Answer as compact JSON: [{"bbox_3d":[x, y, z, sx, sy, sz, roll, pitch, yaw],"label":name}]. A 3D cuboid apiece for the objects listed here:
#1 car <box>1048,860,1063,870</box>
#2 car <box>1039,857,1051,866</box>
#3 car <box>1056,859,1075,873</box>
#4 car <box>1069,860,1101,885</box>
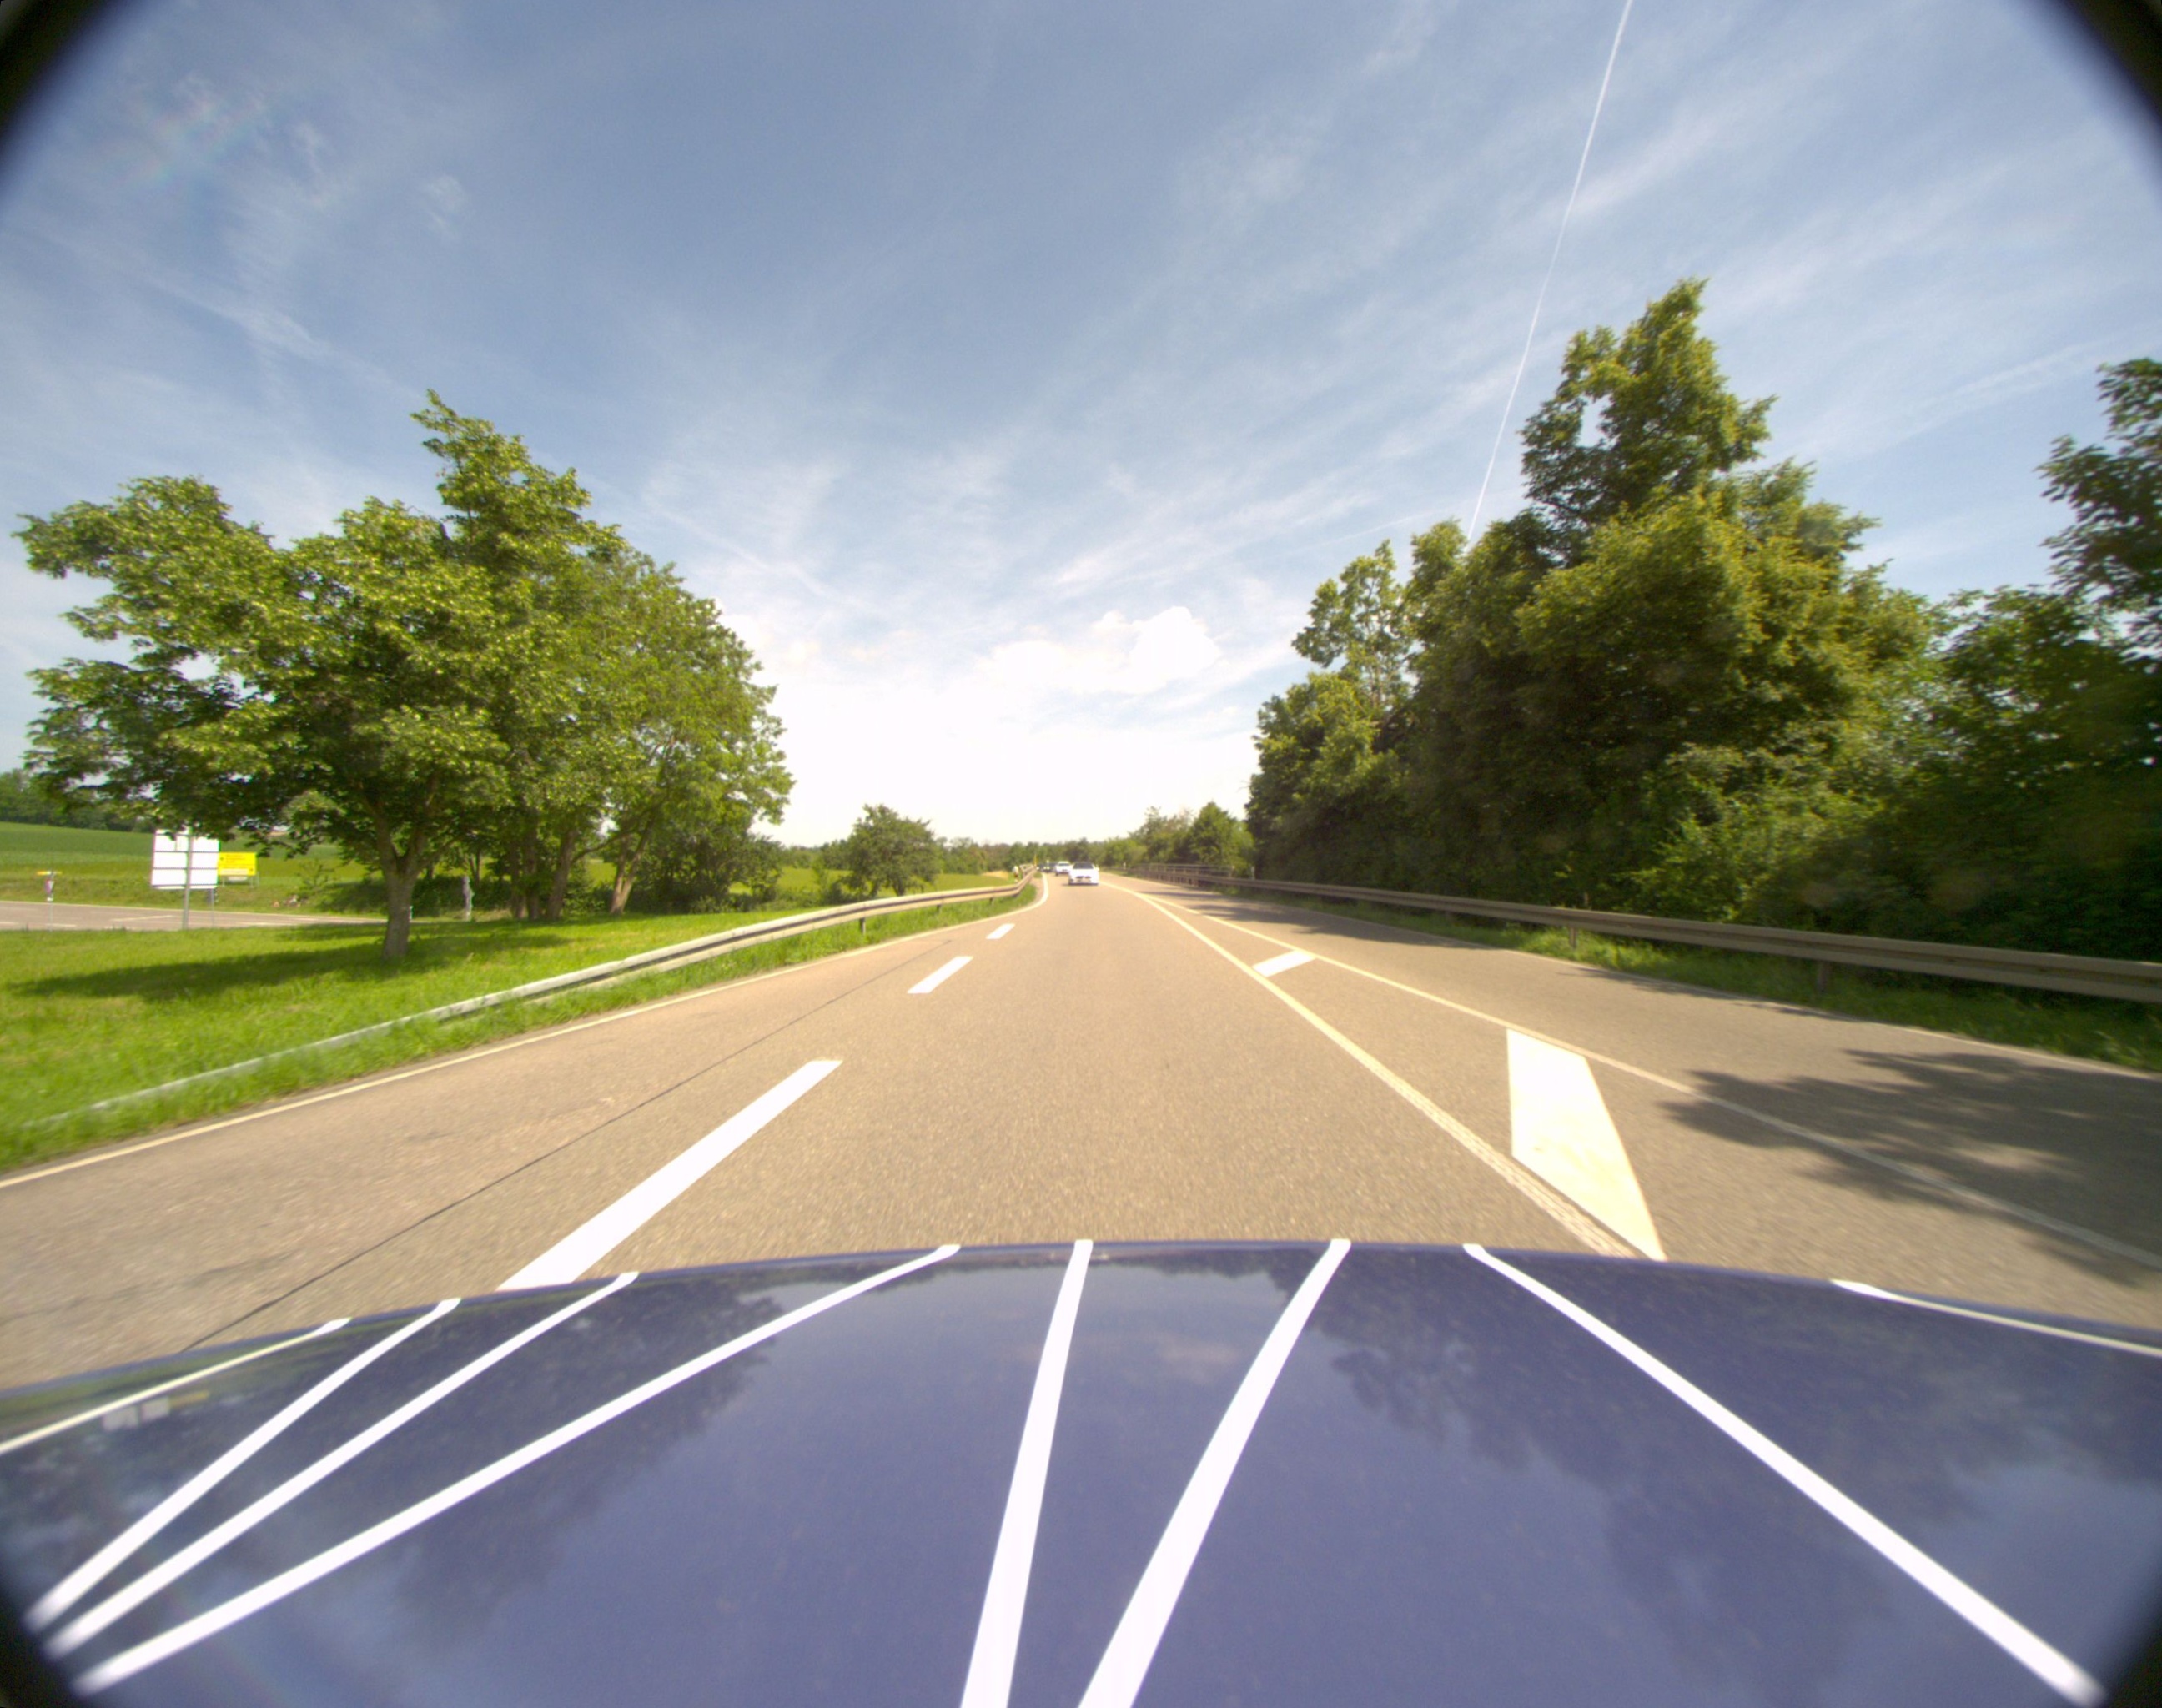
[{"bbox_3d":[-3.499,1.519,104.925,1.930,1.441,4.075,0,0,-5],"label":"car"},{"bbox_3d":[-5.982,1.287,125.128,1.929,1.441,3.999,0,0,-2],"label":"car"},{"bbox_3d":[-1.677,1.268,81.940,1.930,1.441,3.999,0,0,-4],"label":"car"},{"bbox_3d":[0.193,1.148,48.423,1.929,1.441,4.534,0,0,-1],"label":"car"}]
